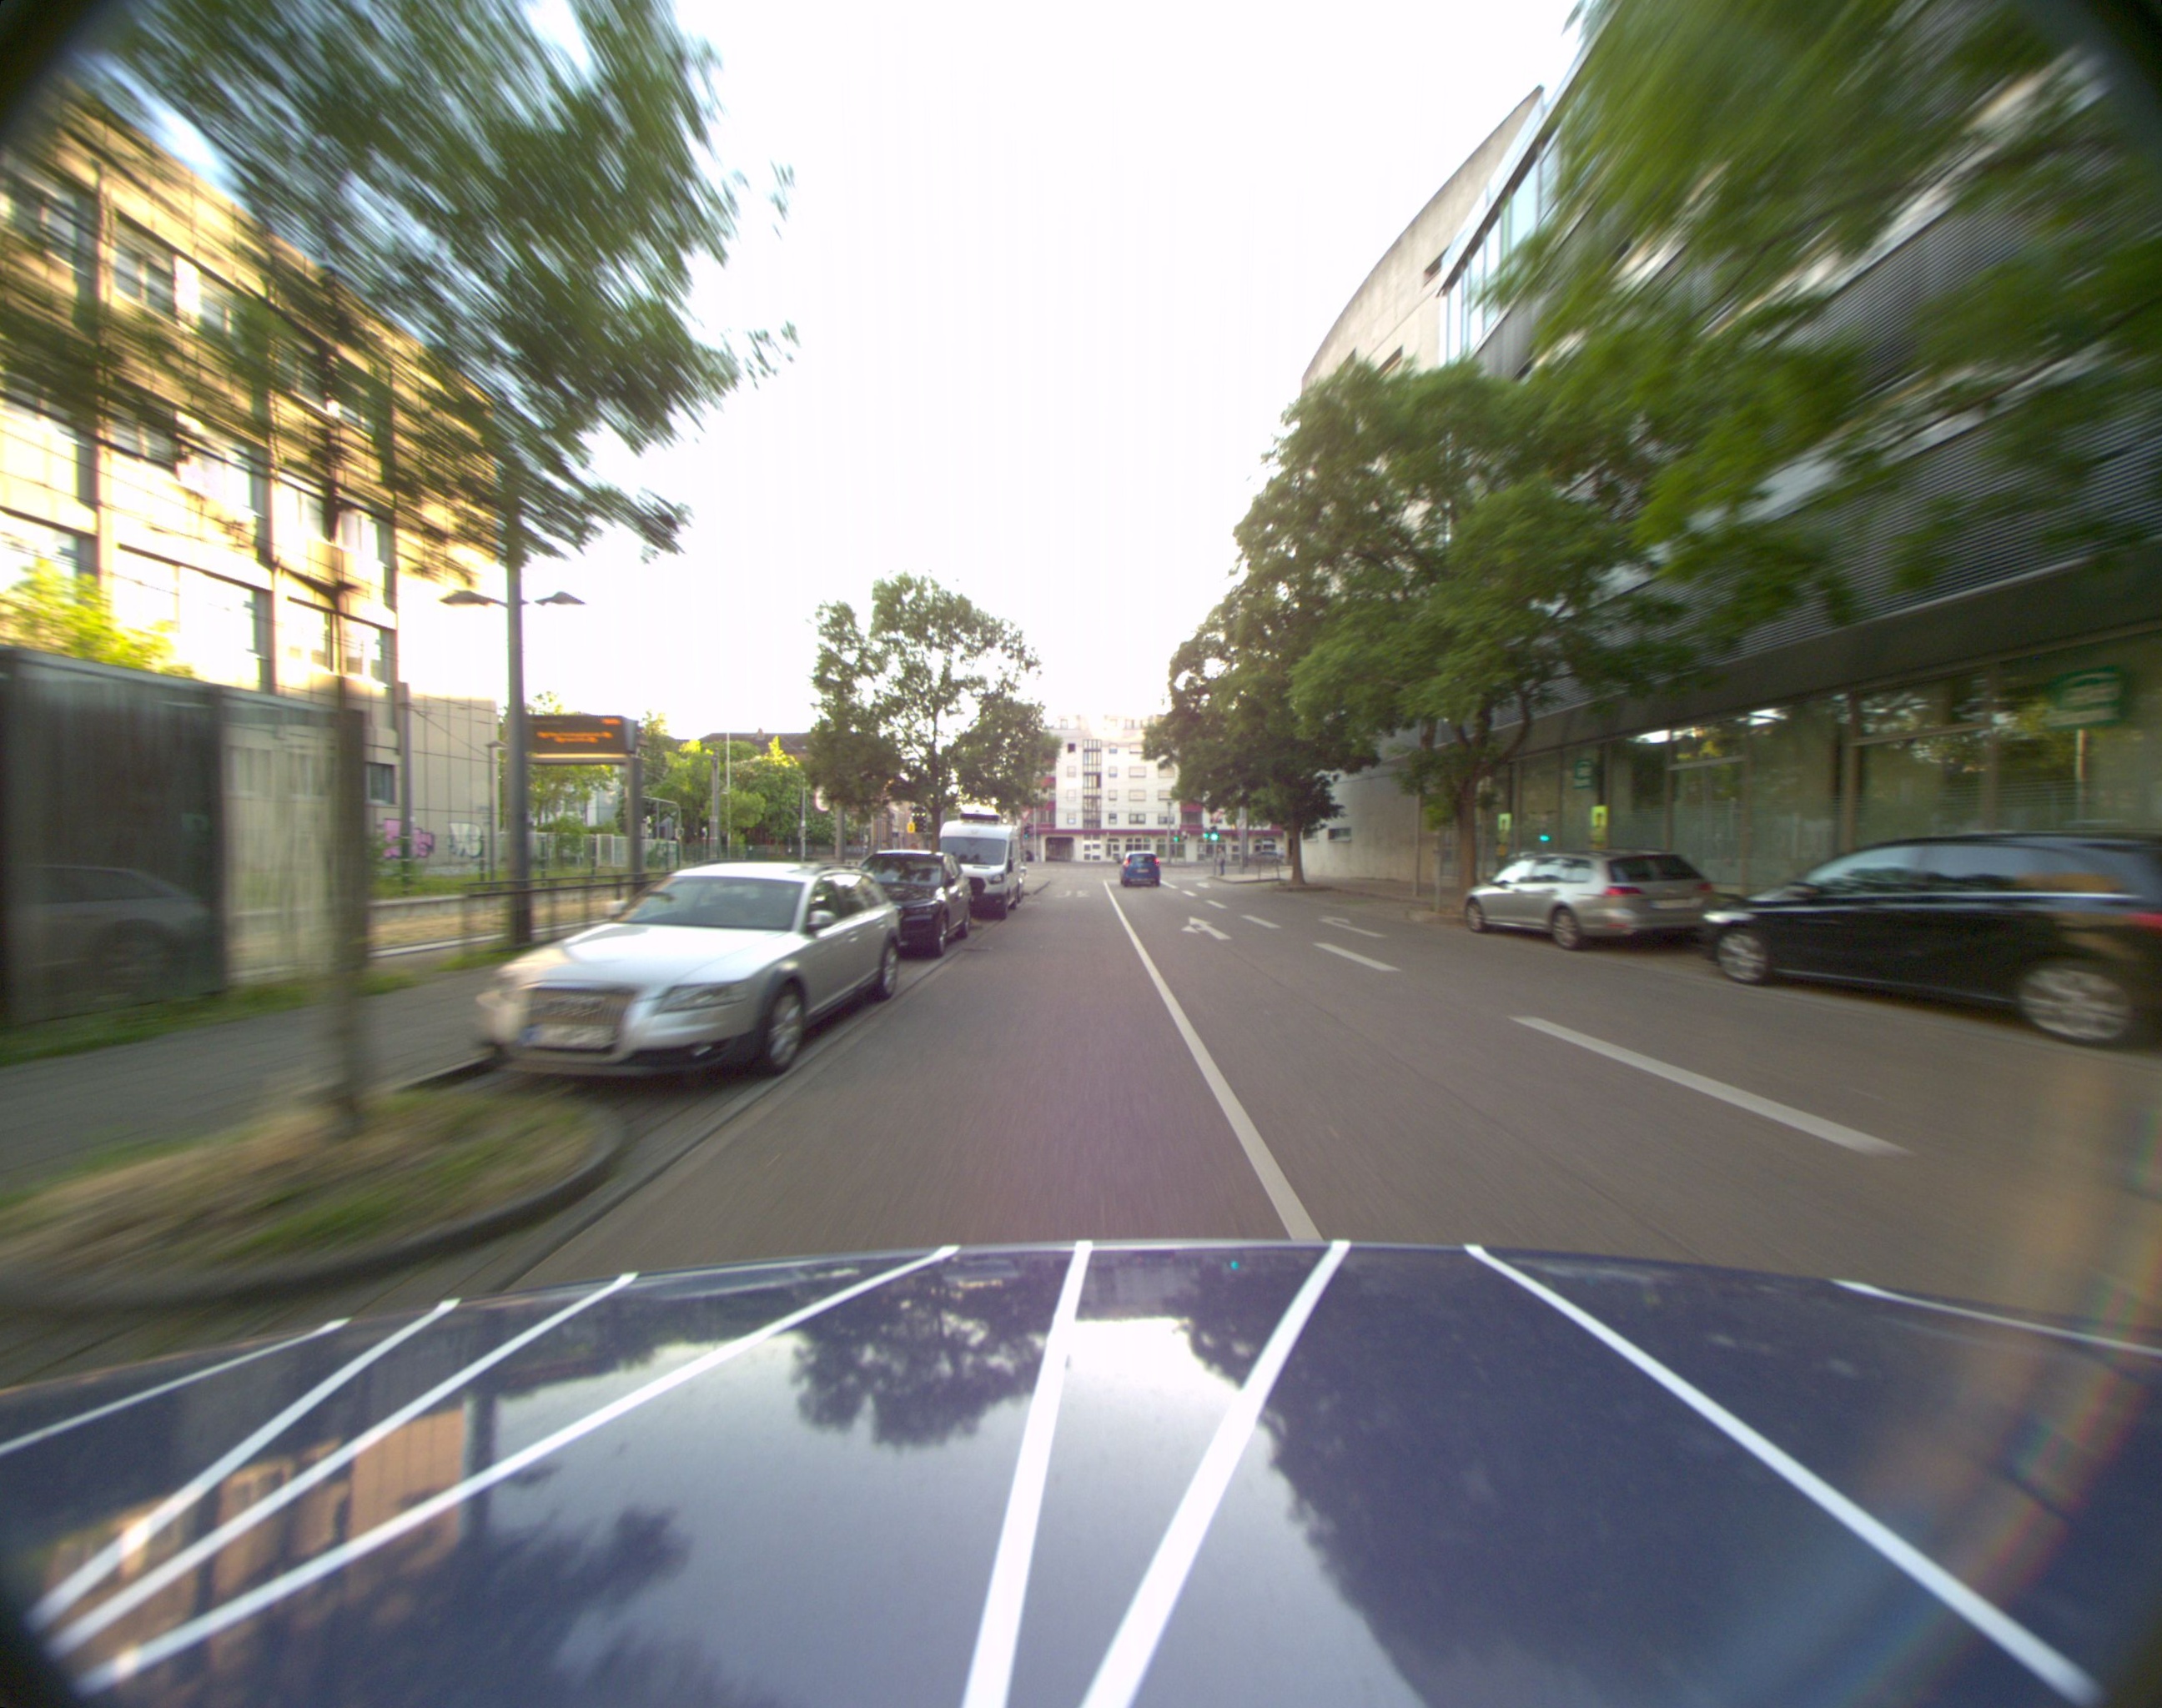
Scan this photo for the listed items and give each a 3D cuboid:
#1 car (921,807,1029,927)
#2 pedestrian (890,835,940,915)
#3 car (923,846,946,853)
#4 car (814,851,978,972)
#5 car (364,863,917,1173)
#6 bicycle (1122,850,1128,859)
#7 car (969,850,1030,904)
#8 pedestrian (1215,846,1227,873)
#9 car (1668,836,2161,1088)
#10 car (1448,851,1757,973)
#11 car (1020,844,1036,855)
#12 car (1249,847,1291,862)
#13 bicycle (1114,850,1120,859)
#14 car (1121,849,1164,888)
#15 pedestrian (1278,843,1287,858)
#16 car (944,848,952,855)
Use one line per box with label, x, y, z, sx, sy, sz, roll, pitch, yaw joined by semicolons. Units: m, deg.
car;-2.628;0.275;20.136;2.056;2.642;5.433;3;1;-1
pedestrian;-4.303;0.514;19.695;0.981;2.002;0.805;-1;2;-44
car;-30.026;-0.956;155.927;4.706;1.477;1.905;0;1;-11
car;-2.916;0.812;12.900;1.712;1.634;4.266;2;1;0
car;-2.926;0.923;6.528;1.800;1.487;4.780;3;1;2
bicycle;4.961;0.075;86.446;0.515;1.040;1.902;0;1;-2
car;-2.714;0.727;26.072;1.752;1.574;4.011;3;1;-2
pedestrian;8.803;0.340;47.622;0.545;1.691;0.709;1;1;28
car;7.735;0.674;6.722;1.594;1.559;4.471;-3;1;0
car;7.834;0.738;12.088;1.707;1.453;4.626;-3;1;0
car;-6.737;-0.583;96.426;2.007;1.449;4.295;0;1;-4
car;20.192;0.007;81.423;4.099;1.587;1.666;0;1;0
bicycle;4.077;0.054;86.419;0.515;1.040;1.902;0;1;-2
car;2.877;0.634;36.284;1.752;1.668;4.273;-1;1;1
pedestrian;23.229;-0.410;87.752;0.835;1.796;0.692;0;1;2
car;-31.582;-0.636;180.158;1.787;1.449;4.292;0;1;-11
